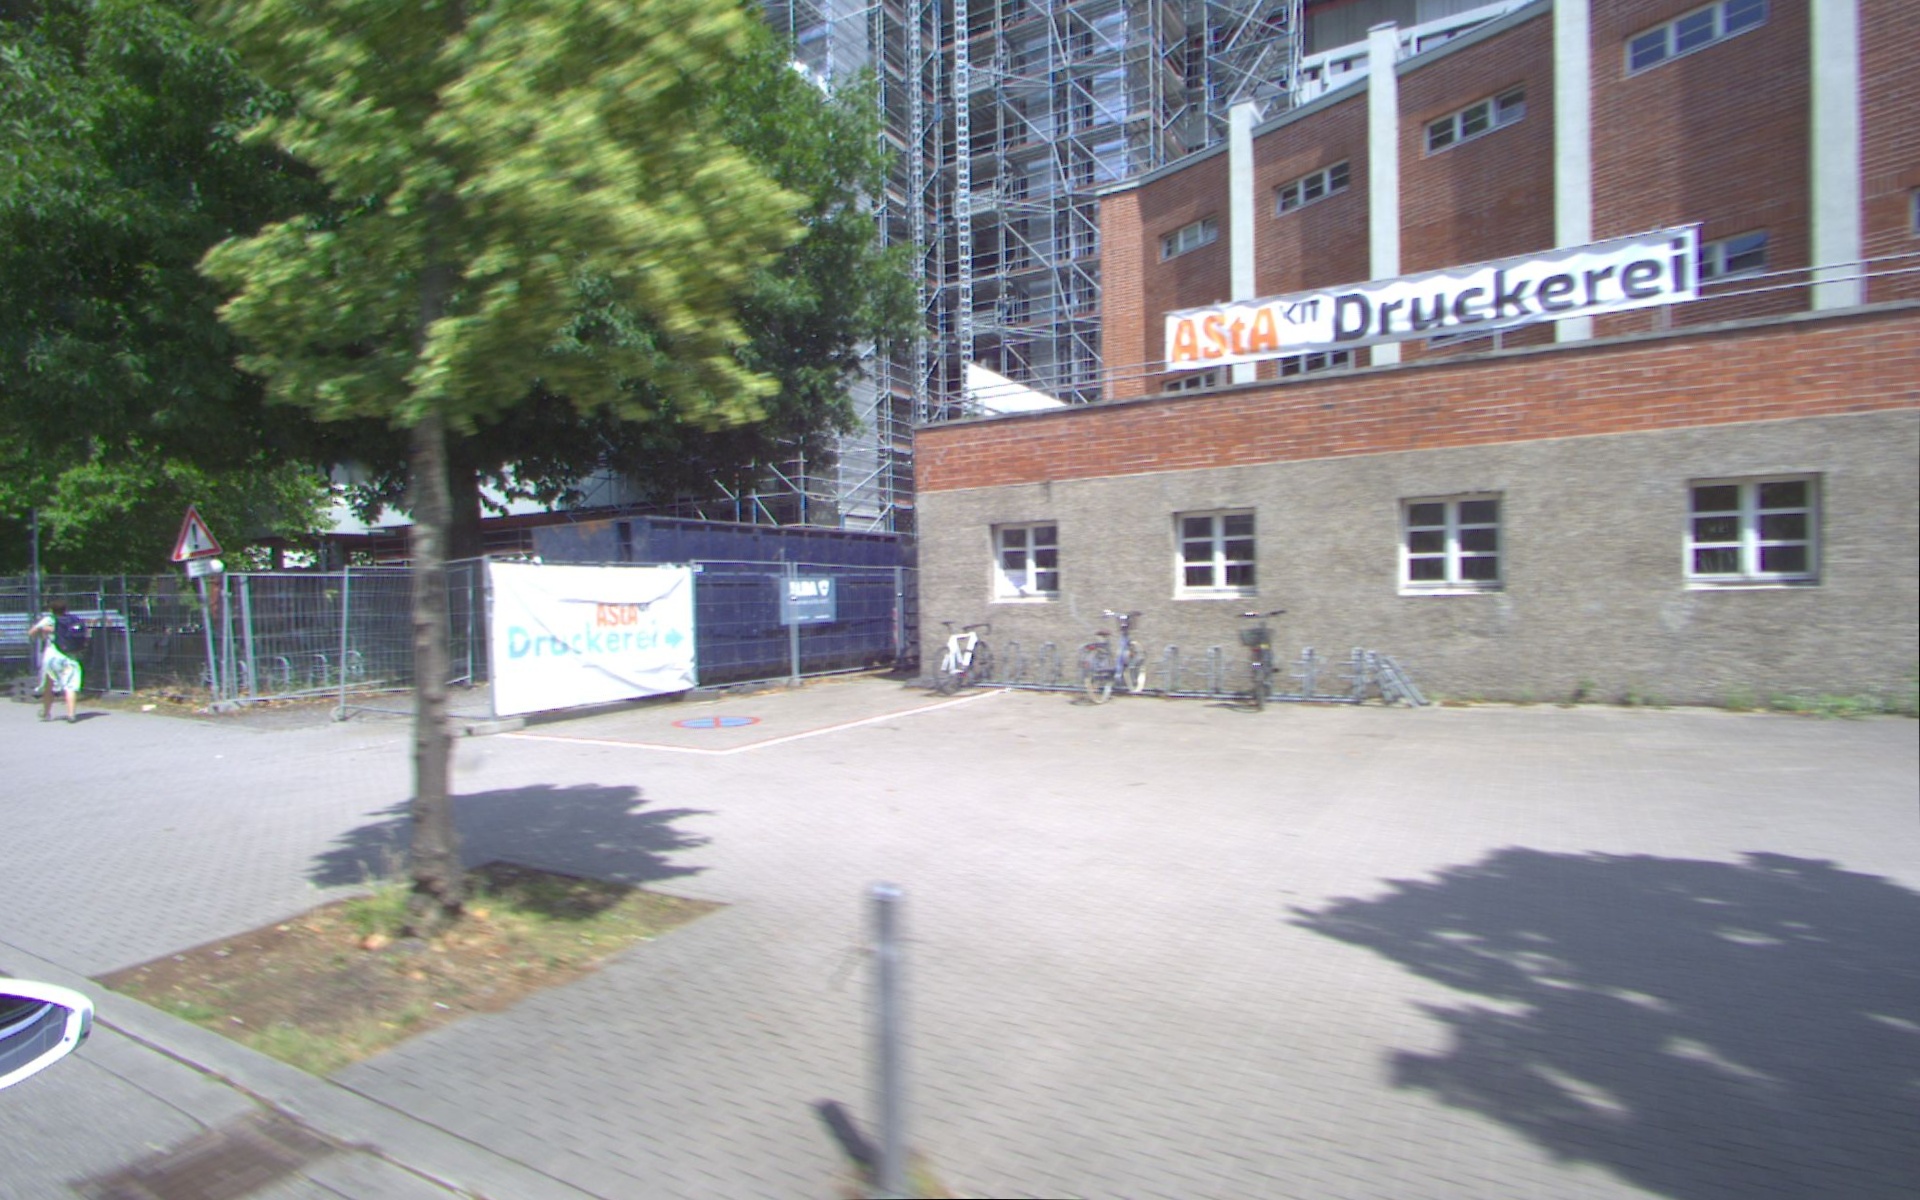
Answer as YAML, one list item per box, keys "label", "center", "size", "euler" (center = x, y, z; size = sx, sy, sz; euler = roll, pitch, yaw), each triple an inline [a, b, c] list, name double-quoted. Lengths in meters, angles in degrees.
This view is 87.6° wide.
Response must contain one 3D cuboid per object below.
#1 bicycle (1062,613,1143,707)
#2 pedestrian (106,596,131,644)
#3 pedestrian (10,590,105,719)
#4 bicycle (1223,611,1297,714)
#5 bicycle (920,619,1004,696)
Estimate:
- label: "bicycle"
  center: [1.897, 0.753, 13.157]
  size: [0.441, 1.124, 1.698]
  euler: [0, 1, 30]
- label: "pedestrian"
  center: [-33.208, 0.774, 39.520]
  size: [0.752, 1.862, 0.541]
  euler: [-1, 1, 36]
- label: "pedestrian"
  center: [-12.236, 0.720, 13.576]
  size: [0.890, 1.688, 0.648]
  euler: [-1, 1, 28]
- label: "bicycle"
  center: [3.678, 0.719, 12.186]
  size: [0.441, 1.124, 1.803]
  euler: [0, 1, 30]
- label: "bicycle"
  center: [0.052, 0.811, 14.598]
  size: [0.441, 1.017, 1.668]
  euler: [0, 1, 30]
